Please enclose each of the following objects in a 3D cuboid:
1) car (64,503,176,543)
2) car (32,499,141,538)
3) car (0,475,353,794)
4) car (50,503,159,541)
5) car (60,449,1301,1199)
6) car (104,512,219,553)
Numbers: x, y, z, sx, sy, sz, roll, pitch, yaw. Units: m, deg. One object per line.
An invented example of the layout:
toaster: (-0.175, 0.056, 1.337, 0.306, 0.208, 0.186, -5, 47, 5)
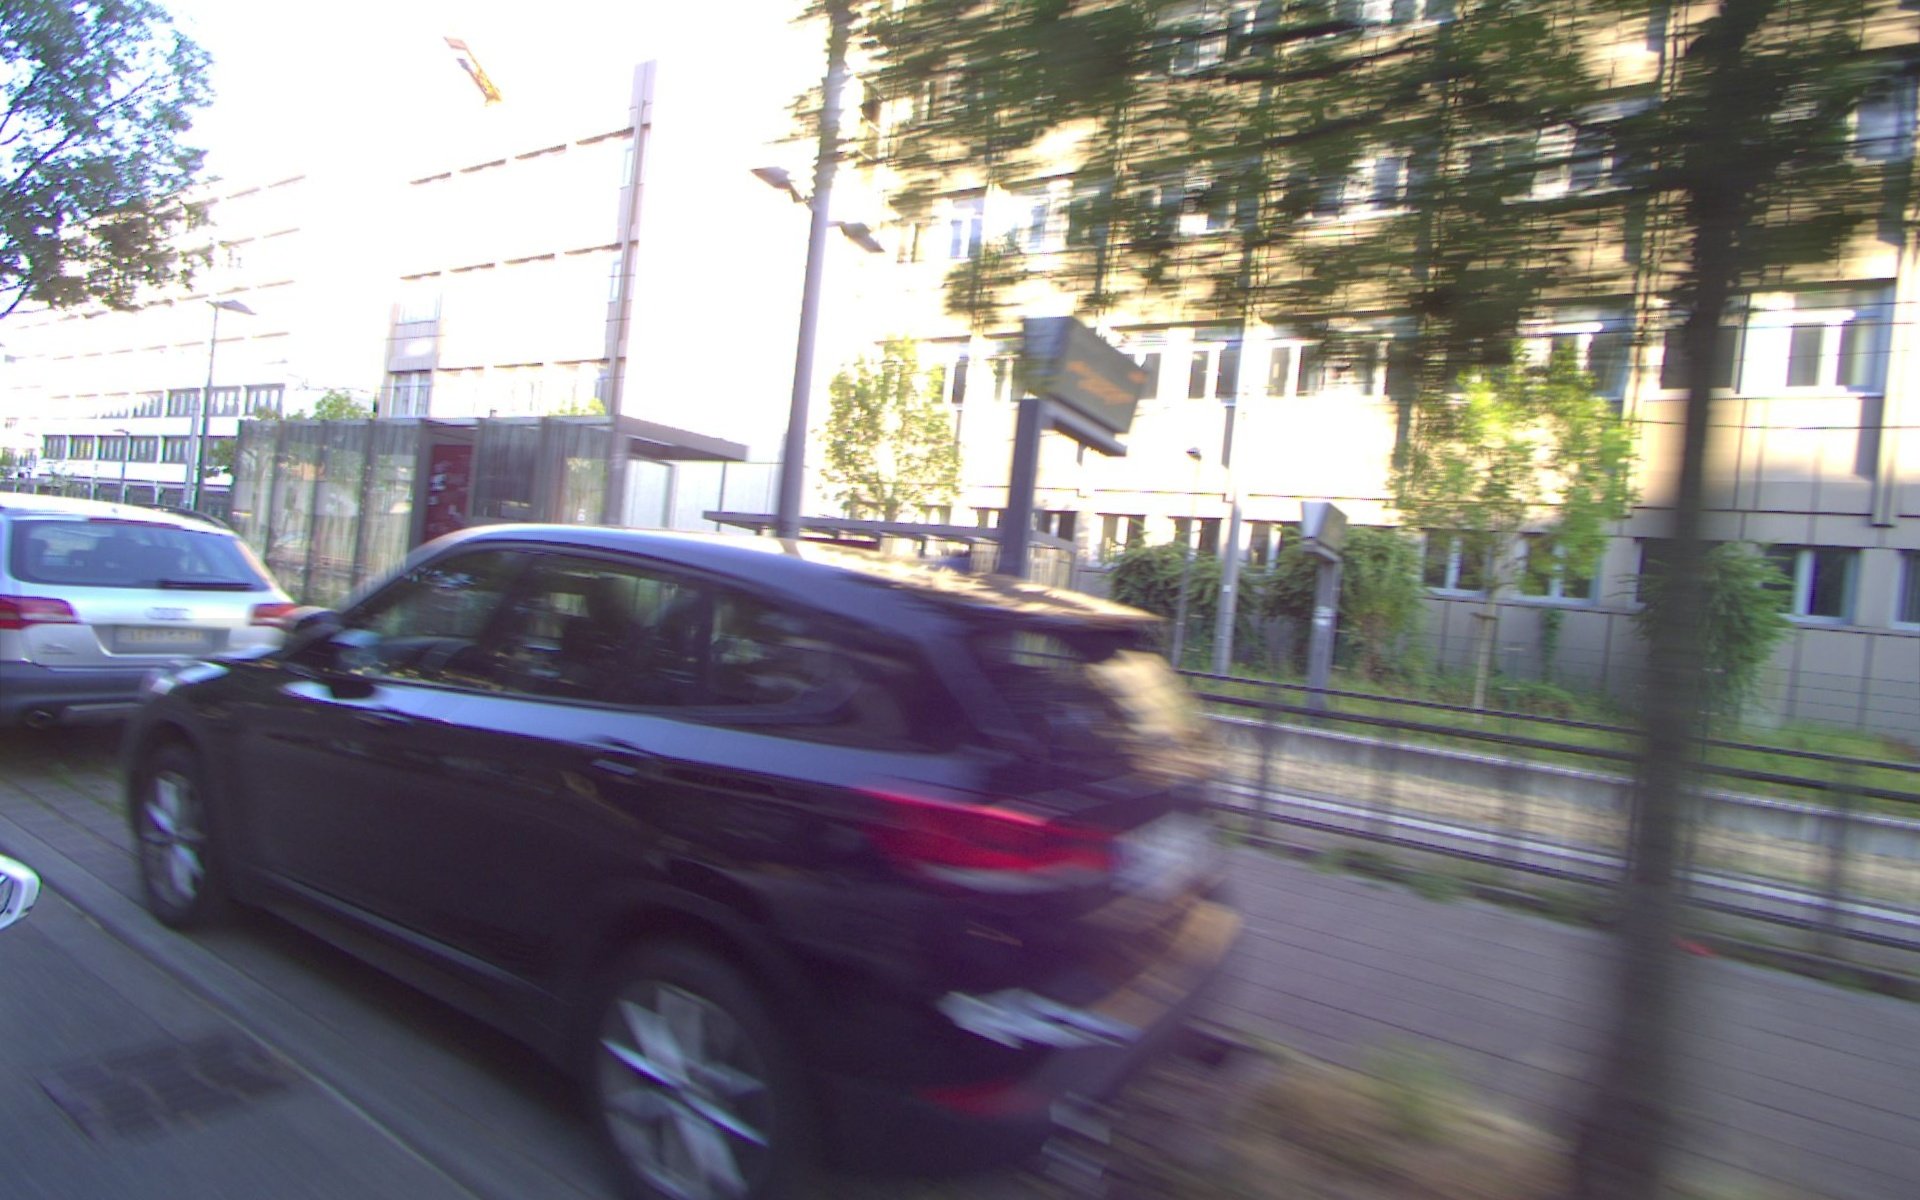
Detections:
car: (-42.436, -3.874, 50.883, 1.648, 1.506, 3.987, 6, 1, 33)
car: (-46.626, -4.314, 53.798, 1.793, 1.533, 3.990, 7, 1, 30)
car: (-6.134, -0.032, 6.613, 4.703, 1.516, 1.795, 6, 3, 33)
car: (-44.435, -4.041, 52.331, 1.648, 1.506, 3.987, 6, 1, 33)
car: (-1.223, 0.474, 3.539, 4.196, 1.664, 1.708, 6, 1, 31)
car: (-38.439, -3.232, 48.490, 1.648, 1.506, 3.987, 6, 1, 33)
